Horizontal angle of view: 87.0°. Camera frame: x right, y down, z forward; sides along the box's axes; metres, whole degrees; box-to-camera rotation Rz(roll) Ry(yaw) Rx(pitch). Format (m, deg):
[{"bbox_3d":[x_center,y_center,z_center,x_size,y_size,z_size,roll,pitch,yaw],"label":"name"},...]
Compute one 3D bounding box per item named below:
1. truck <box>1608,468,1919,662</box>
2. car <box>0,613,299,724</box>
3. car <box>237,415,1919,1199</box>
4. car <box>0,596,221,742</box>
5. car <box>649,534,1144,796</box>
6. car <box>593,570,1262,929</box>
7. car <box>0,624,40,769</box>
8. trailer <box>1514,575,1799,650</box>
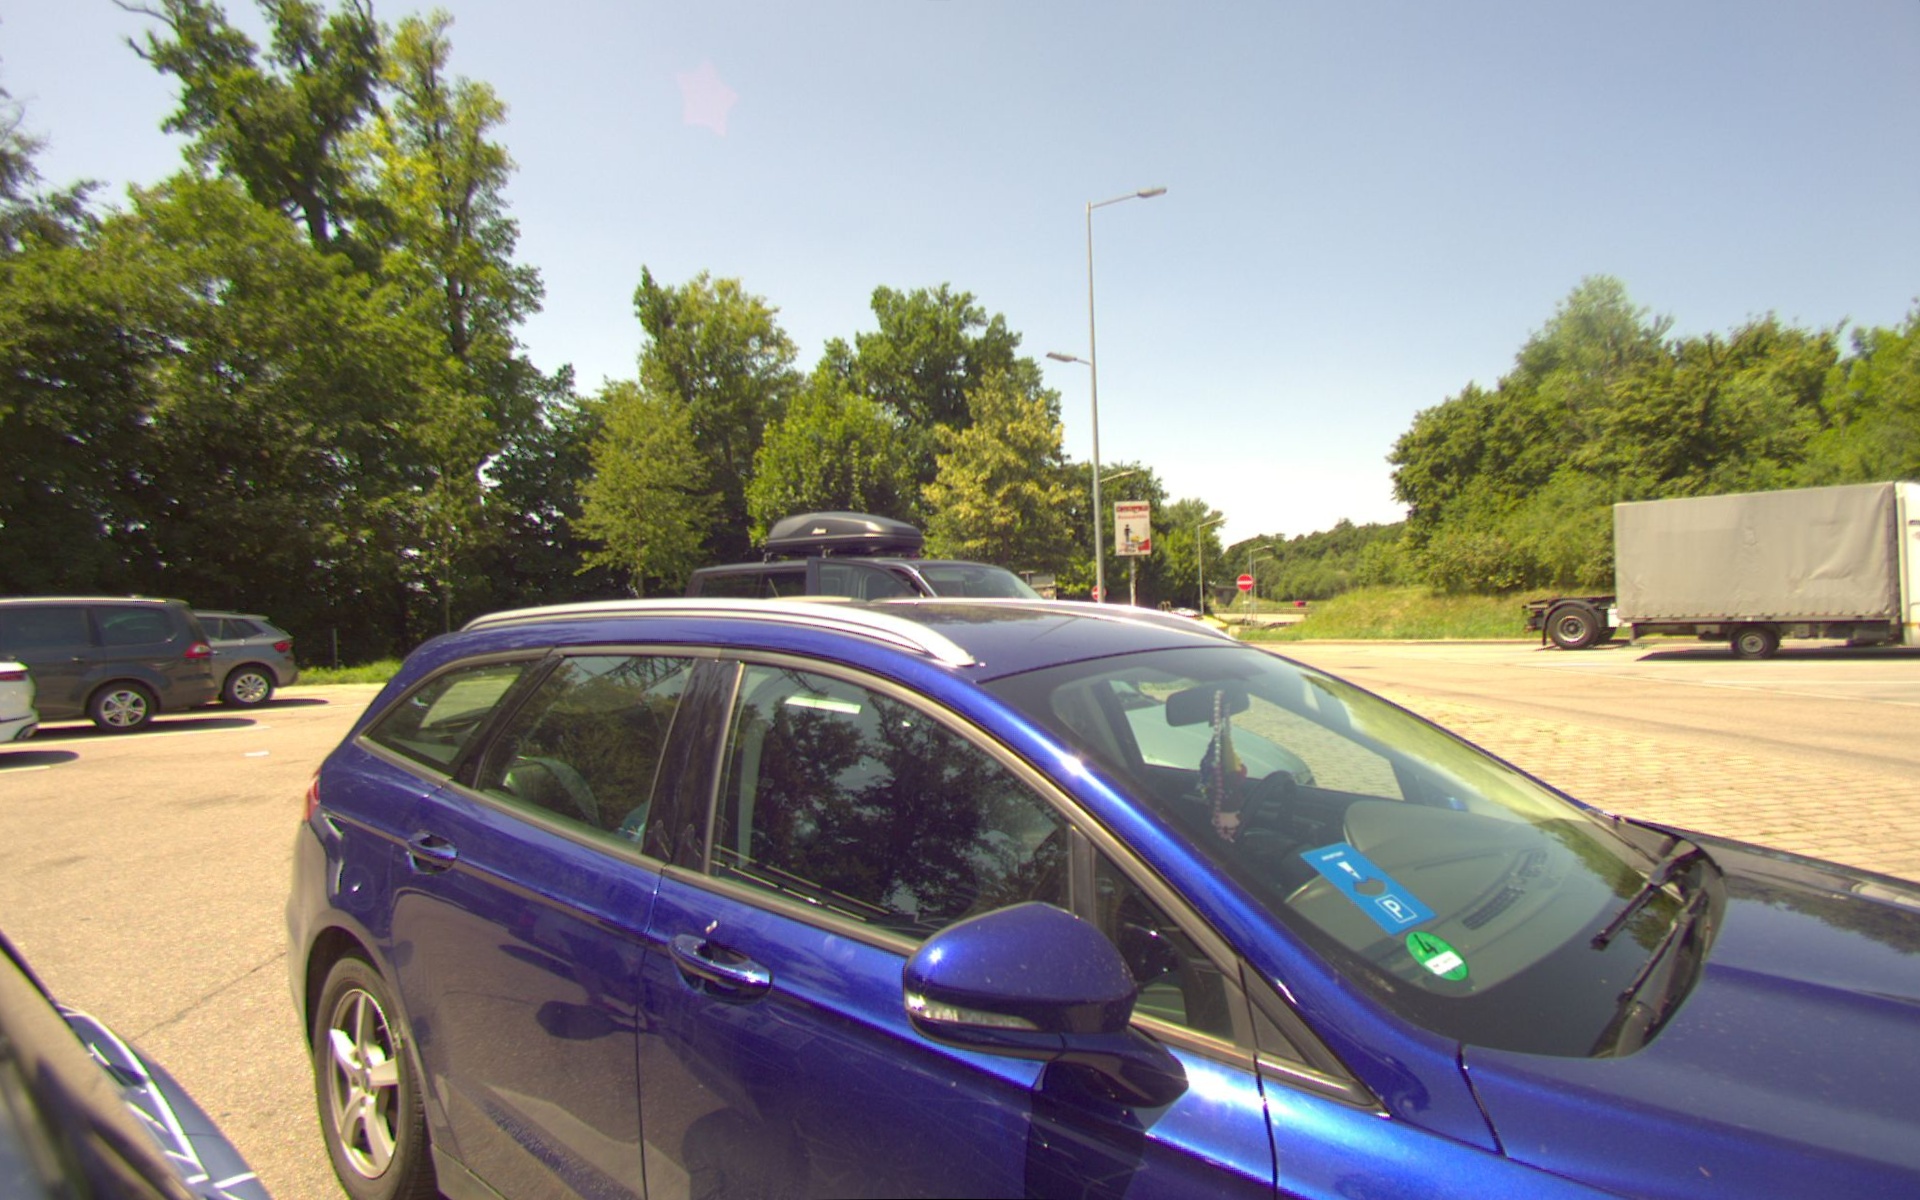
[{"bbox_3d":[16.692,-0.619,18.874,7.308,3.258,2.294,-5,-2,43],"label":"truck"},{"bbox_3d":[-12.616,0.967,15.651,3.753,1.488,1.743,0,-1,-45],"label":"car"},{"bbox_3d":[0.215,0.647,2.119,4.427,1.455,1.763,-2,-1,40],"label":"car"},{"bbox_3d":[-11.734,0.831,12.624,3.830,1.703,1.883,0,-2,-45],"label":"car"},{"bbox_3d":[-0.754,0.530,9.451,4.427,1.875,2.022,-2,-1,40],"label":"car"},{"bbox_3d":[-0.387,0.647,5.840,3.739,1.424,1.587,-2,-1,40],"label":"car"},{"bbox_3d":[-10.982,0.939,9.236,3.753,1.377,1.804,0,-1,-45],"label":"car"},{"bbox_3d":[16.314,0.345,23.947,5.393,1.608,1.576,-2,-1,41],"label":"trailer"}]
